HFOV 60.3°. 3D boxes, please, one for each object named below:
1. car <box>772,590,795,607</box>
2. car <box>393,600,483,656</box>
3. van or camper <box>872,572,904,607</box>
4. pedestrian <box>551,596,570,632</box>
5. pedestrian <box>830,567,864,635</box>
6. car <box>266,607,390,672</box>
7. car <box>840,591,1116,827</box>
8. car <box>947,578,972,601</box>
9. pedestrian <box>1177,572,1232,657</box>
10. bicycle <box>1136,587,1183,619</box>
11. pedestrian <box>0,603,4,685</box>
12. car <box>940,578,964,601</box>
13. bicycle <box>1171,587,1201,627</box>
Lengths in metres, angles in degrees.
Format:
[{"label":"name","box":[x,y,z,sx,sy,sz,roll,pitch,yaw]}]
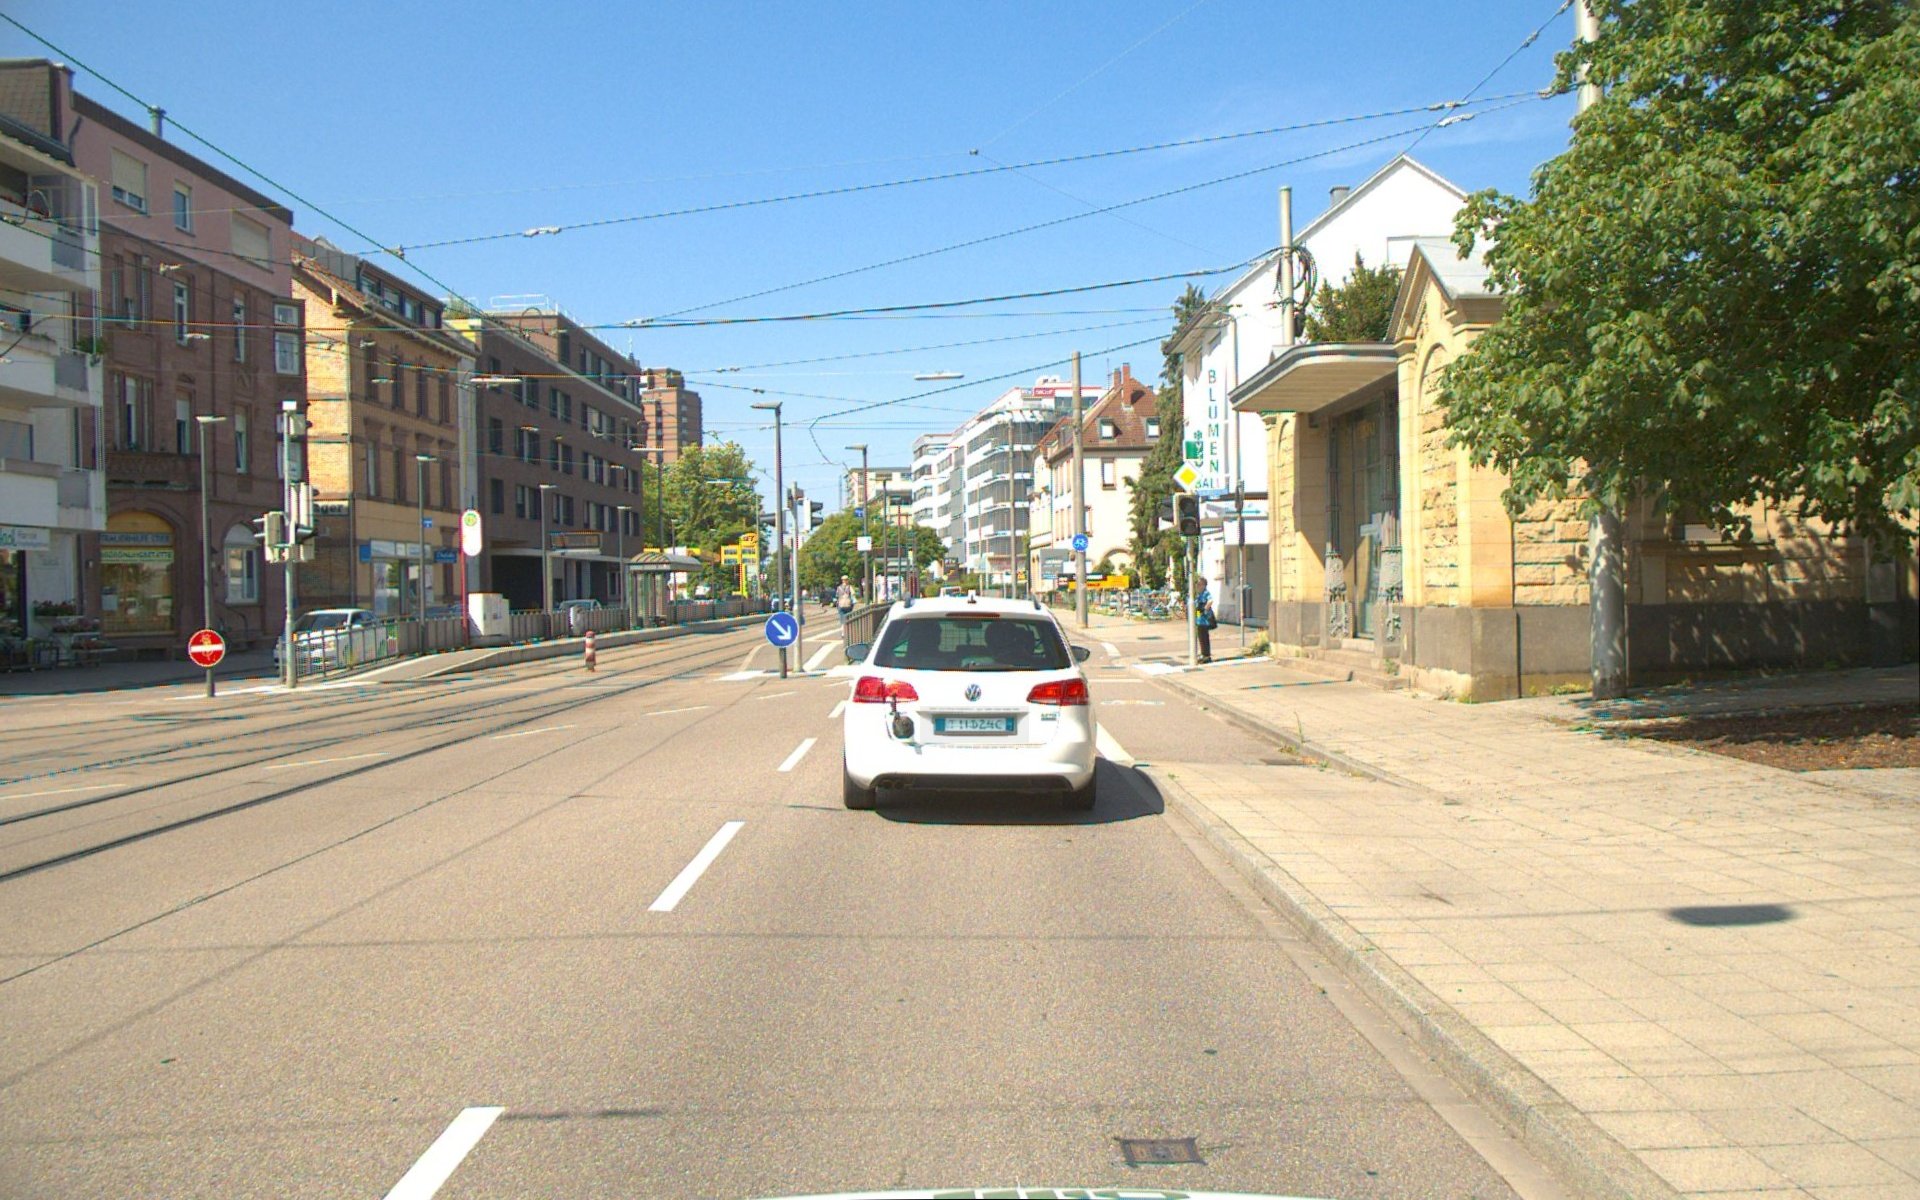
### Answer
[{"label":"car","box":[-15.584,-0.136,146.116,1.634,1.492,3.773,-2,1,0]},{"label":"car","box":[-15.140,0.790,48.148,1.541,1.484,3.812,-2,0,-3]},{"label":"van or camper","box":[-7.099,-1.016,161.903,2.885,3.235,6.608,-2,1,-4]},{"label":"pedestrian","box":[-21.065,0.740,87.195,0.710,1.822,0.964,-3,0,0]},{"label":"pedestrian","box":[-3.107,0.019,45.409,0.809,1.841,0.833,-2,0,0]},{"label":"car","box":[-15.264,0.926,40.144,1.593,1.456,3.961,0,0,-2]},{"label":"car","box":[0.123,0.673,12.296,1.717,1.442,3.853,1,0,0]},{"label":"car","box":[-0.056,-0.977,152.375,1.954,2.049,3.997,-2,1,-4]},{"label":"pedestrian","box":[4.550,0.268,30.765,0.763,1.536,0.858,-1,0,25]},{"label":"bicycle","box":[7.439,0.115,61.719,1.676,1.150,0.526,-2,0,1]},{"label":"pedestrian","box":[-19.996,0.918,33.524,0.863,1.676,0.678,-2,0,-15]},{"label":"car","box":[-0.751,-0.993,157.791,1.954,2.049,3.997,-2,1,-4]},{"label":"bicycle","box":[6.878,0.202,50.354,0.710,1.159,2.197,-2,1,12]}]
